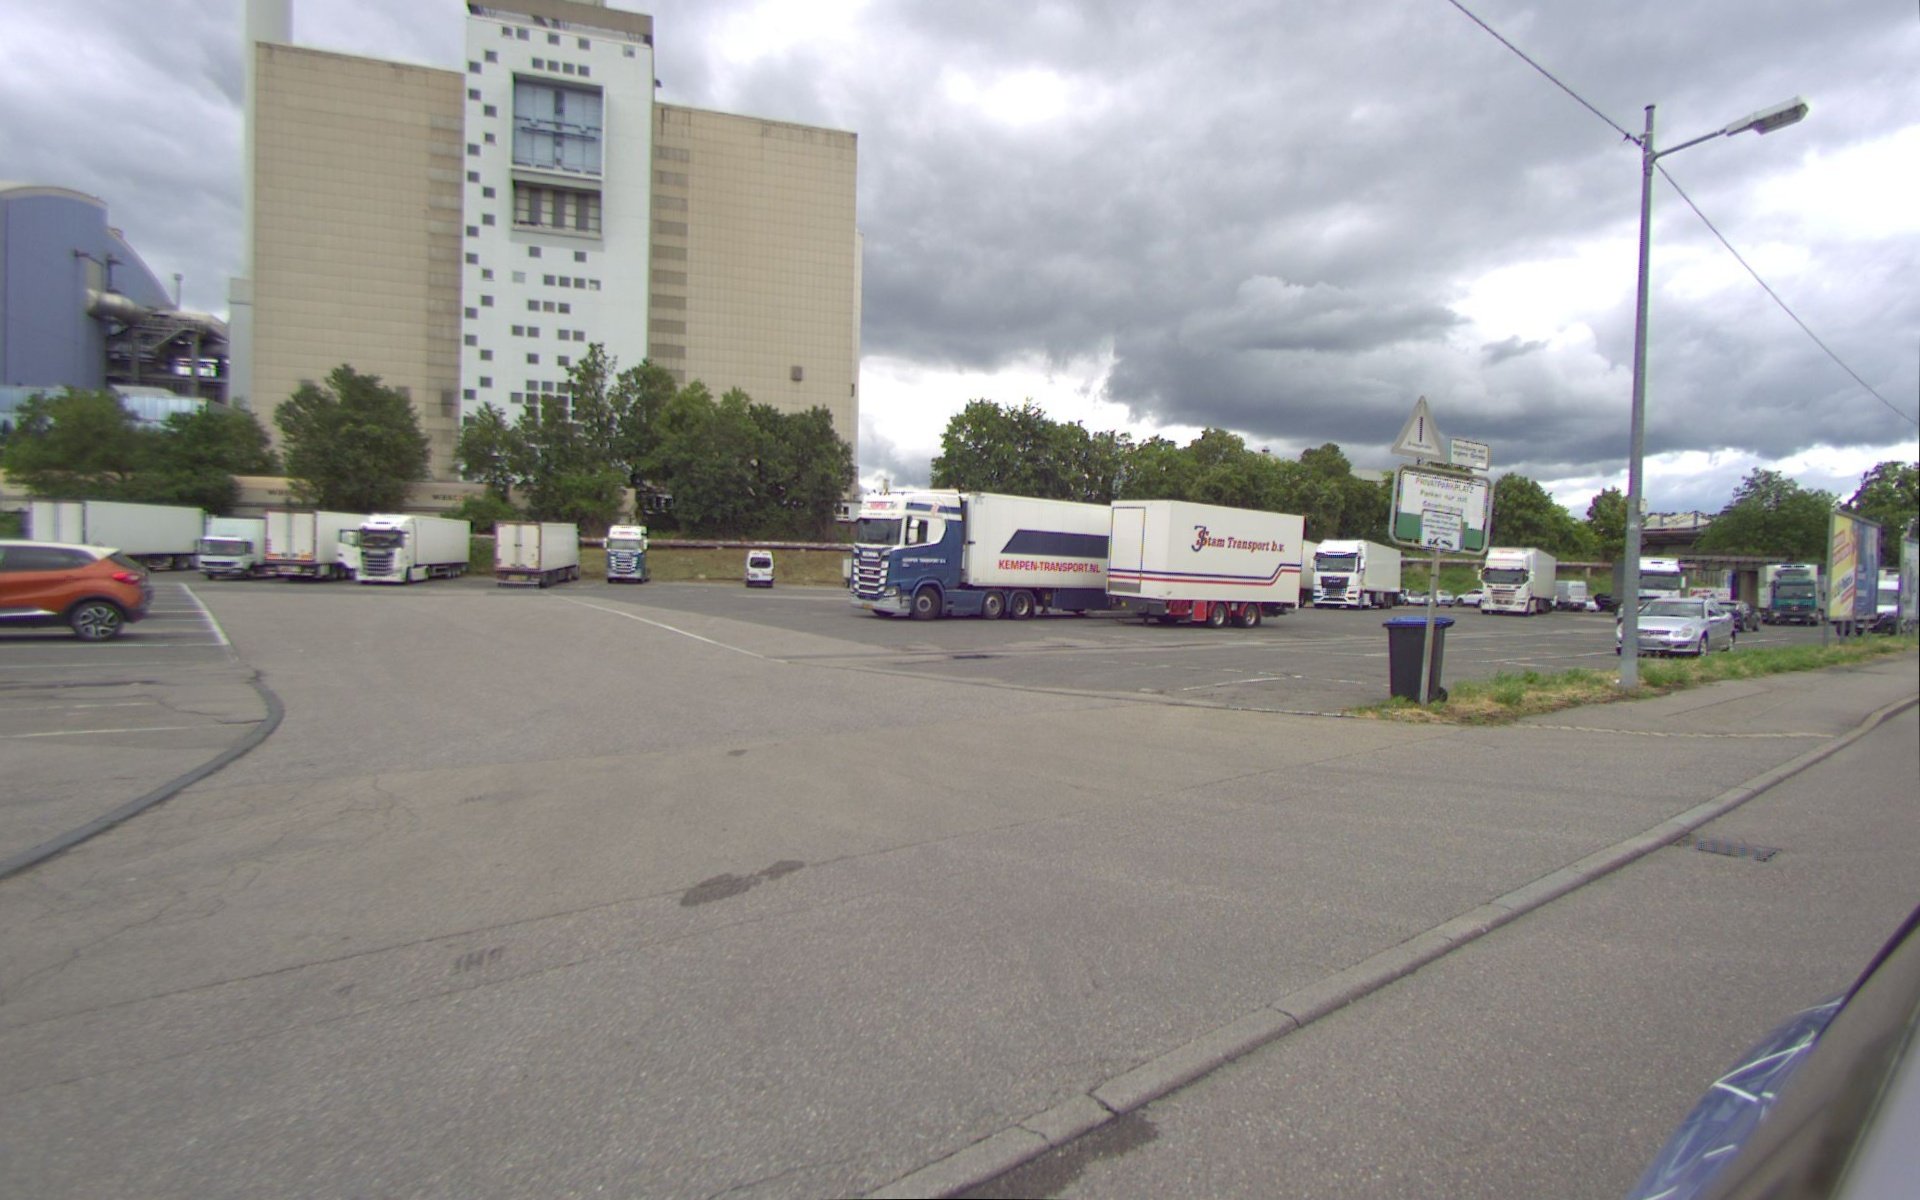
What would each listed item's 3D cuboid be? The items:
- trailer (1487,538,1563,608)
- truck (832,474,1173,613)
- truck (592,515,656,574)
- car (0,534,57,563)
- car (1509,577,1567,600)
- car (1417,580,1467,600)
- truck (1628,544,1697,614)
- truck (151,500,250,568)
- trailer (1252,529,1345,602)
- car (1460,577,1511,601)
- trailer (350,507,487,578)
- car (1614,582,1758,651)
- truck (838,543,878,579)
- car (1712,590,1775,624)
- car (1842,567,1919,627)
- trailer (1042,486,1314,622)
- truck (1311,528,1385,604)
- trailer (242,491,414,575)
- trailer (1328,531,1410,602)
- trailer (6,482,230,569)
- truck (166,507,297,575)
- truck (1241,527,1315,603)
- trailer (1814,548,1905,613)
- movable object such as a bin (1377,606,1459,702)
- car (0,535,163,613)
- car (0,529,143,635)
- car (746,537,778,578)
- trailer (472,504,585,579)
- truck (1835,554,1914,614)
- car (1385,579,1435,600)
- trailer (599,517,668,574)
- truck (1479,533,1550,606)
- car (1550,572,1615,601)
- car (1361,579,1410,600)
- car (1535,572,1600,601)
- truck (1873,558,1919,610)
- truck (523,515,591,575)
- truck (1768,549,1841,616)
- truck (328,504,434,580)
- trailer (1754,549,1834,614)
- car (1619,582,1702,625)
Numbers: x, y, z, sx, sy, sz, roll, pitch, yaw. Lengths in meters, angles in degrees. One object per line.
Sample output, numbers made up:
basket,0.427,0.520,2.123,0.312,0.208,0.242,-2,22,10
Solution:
trailer,37.514,-1.768,66.881,2.823,4.145,13.226,4,3,35
truck,1.935,-1.769,34.553,12.838,4.015,3.082,0,4,-40
truck,-24.421,-3.978,73.894,3.634,4.013,7.273,1,2,-12
car,-54.281,-2.961,58.020,1.948,1.620,4.701,1,2,-18
car,51.703,-1.051,90.640,1.959,1.915,4.729,1,2,-9
car,42.273,-0.895,88.811,1.958,1.628,4.009,1,2,-11
truck,45.170,-1.375,65.278,2.851,4.145,6.686,3,3,30
truck,-53.807,-4.585,71.939,3.474,4.487,6.670,0,2,-15
trailer,21.743,-2.118,64.356,2.597,4.145,12.301,4,3,32
car,46.771,-0.989,90.136,1.958,1.895,4.009,1,2,-11
trailer,-36.781,-3.786,69.910,3.566,4.140,18.544,1,2,-13
car,17.600,0.345,24.448,4.480,1.482,1.777,0,2,-41
truck,-8.025,-3.116,79.130,2.233,2.520,5.974,2,3,-14
car,37.600,0.307,48.548,3.979,1.513,1.497,0,2,-39
car,40.825,-0.145,44.458,5.973,2.445,2.091,0,2,-39
trailer,7.632,-1.460,34.253,10.213,4.015,2.967,0,4,-38
truck,22.941,-1.993,59.619,2.597,4.145,6.679,4,3,32
trailer,-39.709,-3.999,64.899,3.484,4.556,18.331,0,2,-13
trailer,26.692,-2.103,65.576,2.597,4.145,12.301,4,3,32
trailer,-51.339,-4.276,62.971,3.484,4.556,18.334,0,2,-15
truck,-42.454,-3.394,59.308,3.634,3.601,7.273,1,2,-13
truck,18.791,-2.049,59.622,2.597,4.145,5.590,4,3,32
trailer,64.150,-1.394,72.512,2.821,4.145,13.236,4,3,33
movable object such as a bin,5.572,0.634,12.311,0.714,1.094,0.652,3,2,43
car,-18.230,-0.531,19.748,4.142,1.407,1.769,0,4,-41
car,-15.417,-0.317,15.765,4.142,1.590,1.769,0,4,-41
car,-14.702,-3.148,75.272,2.065,2.871,5.097,1,2,-9
trailer,-28.343,-3.744,67.669,3.566,4.224,18.543,1,2,-13
truck,60.643,-1.079,67.264,2.857,3.674,6.673,4,3,34
car,39.825,-0.933,89.623,1.958,1.628,4.229,1,2,-11
trailer,-26.407,-4.321,82.814,3.566,4.007,18.543,1,2,-13
truck,33.998,-1.849,61.947,2.858,4.145,6.670,4,3,36
car,56.719,-1.277,92.301,2.322,2.479,4.929,1,2,-9
car,37.376,-0.951,88.993,1.958,1.628,4.229,1,2,-11
car,54.424,-1.251,90.811,2.322,2.479,4.929,1,2,-9
truck,72.750,-1.189,77.201,2.809,3.757,9.002,2,2,31
truck,-30.440,-4.113,76.796,3.634,4.224,7.273,1,2,-13
truck,55.639,-1.179,66.858,2.857,4.062,6.673,4,3,34
truck,-34.650,-3.407,60.946,3.633,4.171,7.273,1,2,-14
trailer,58.994,-1.315,71.896,2.821,4.145,13.236,4,3,33
car,27.582,0.123,39.796,3.930,1.591,1.768,0,0,-41
